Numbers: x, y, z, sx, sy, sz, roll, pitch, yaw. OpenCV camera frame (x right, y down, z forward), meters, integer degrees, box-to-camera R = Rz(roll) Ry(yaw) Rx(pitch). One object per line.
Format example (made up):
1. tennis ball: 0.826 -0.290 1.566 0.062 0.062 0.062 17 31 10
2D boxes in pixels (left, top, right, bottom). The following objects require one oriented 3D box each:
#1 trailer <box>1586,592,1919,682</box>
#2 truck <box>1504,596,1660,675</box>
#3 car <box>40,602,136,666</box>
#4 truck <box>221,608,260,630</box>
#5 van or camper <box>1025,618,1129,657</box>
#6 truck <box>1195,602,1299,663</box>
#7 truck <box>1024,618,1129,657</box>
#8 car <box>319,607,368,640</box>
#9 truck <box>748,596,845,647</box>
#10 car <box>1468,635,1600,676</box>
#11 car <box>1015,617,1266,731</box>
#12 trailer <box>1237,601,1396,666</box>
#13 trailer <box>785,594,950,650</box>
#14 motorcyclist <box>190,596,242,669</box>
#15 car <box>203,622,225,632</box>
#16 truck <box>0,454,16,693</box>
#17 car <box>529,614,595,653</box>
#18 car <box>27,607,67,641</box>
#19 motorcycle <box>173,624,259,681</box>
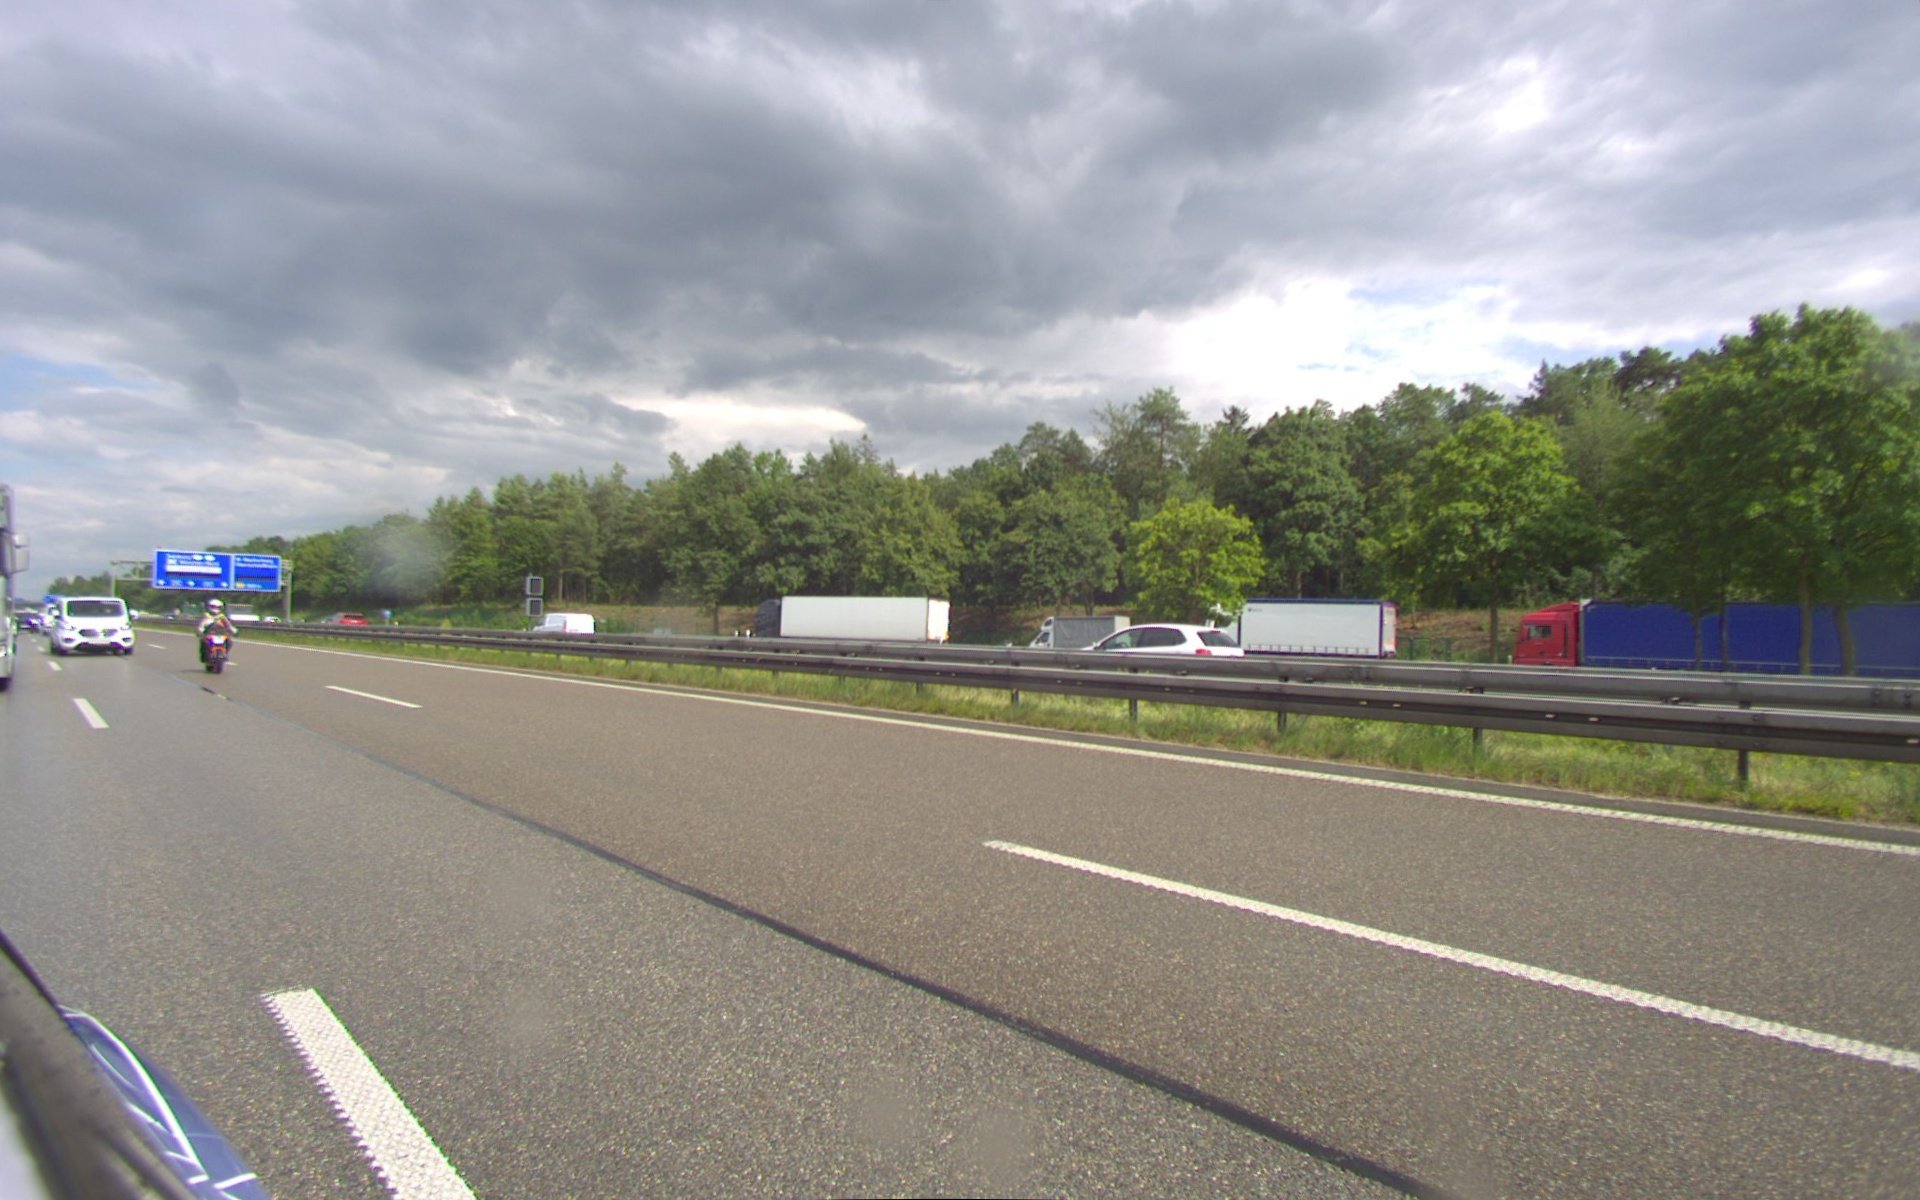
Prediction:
1. trailer: 34.333 1.496 42.540 13.415 3.431 2.794 -1 -2 40
2. truck: 28.915 1.556 47.138 5.892 3.482 2.832 0 0 40
3. car: -30.324 1.100 35.122 2.316 2.060 5.148 0 0 -43
4. truck: -66.509 1.729 93.488 2.230 1.909 5.452 0 0 -43
5. van or camper: 7.313 2.299 63.608 6.307 2.282 2.100 0 -1 34
6. truck: 16.106 1.764 56.929 5.077 3.292 2.630 0 0 37
7. truck: 7.282 2.299 63.637 6.302 2.282 2.100 0 -1 34
8. car: -40.205 1.490 65.959 1.808 2.060 4.784 0 0 -43
9. truck: -12.329 1.558 76.090 6.895 3.732 3.182 0 0 33
10. car: 31.698 3.008 55.983 6.125 2.029 1.974 0 0 39
11. car: 3.429 1.331 20.027 1.808 1.905 4.784 0 0 -43
12. trailer: 19.183 1.742 54.690 7.729 3.257 2.555 0 -2 37
13. trailer: -6.814 1.558 72.520 12.533 3.767 3.178 0 -2 33
14. motorcyclist: -17.965 0.762 24.425 1.001 1.719 0.871 0 0 44
15. car: -108.006 3.911 146.562 1.950 1.403 5.164 0 0 -43
16. truck: -20.539 -0.466 19.831 6.887 4.306 2.614 0 0 44
17. car: -22.561 1.829 57.270 1.808 2.060 4.784 0 0 -43
18. car: -57.931 1.485 64.206 1.808 2.060 4.784 0 0 -43
19. motorcycle: -18.148 1.239 24.635 3.195 1.235 1.171 0 0 44
